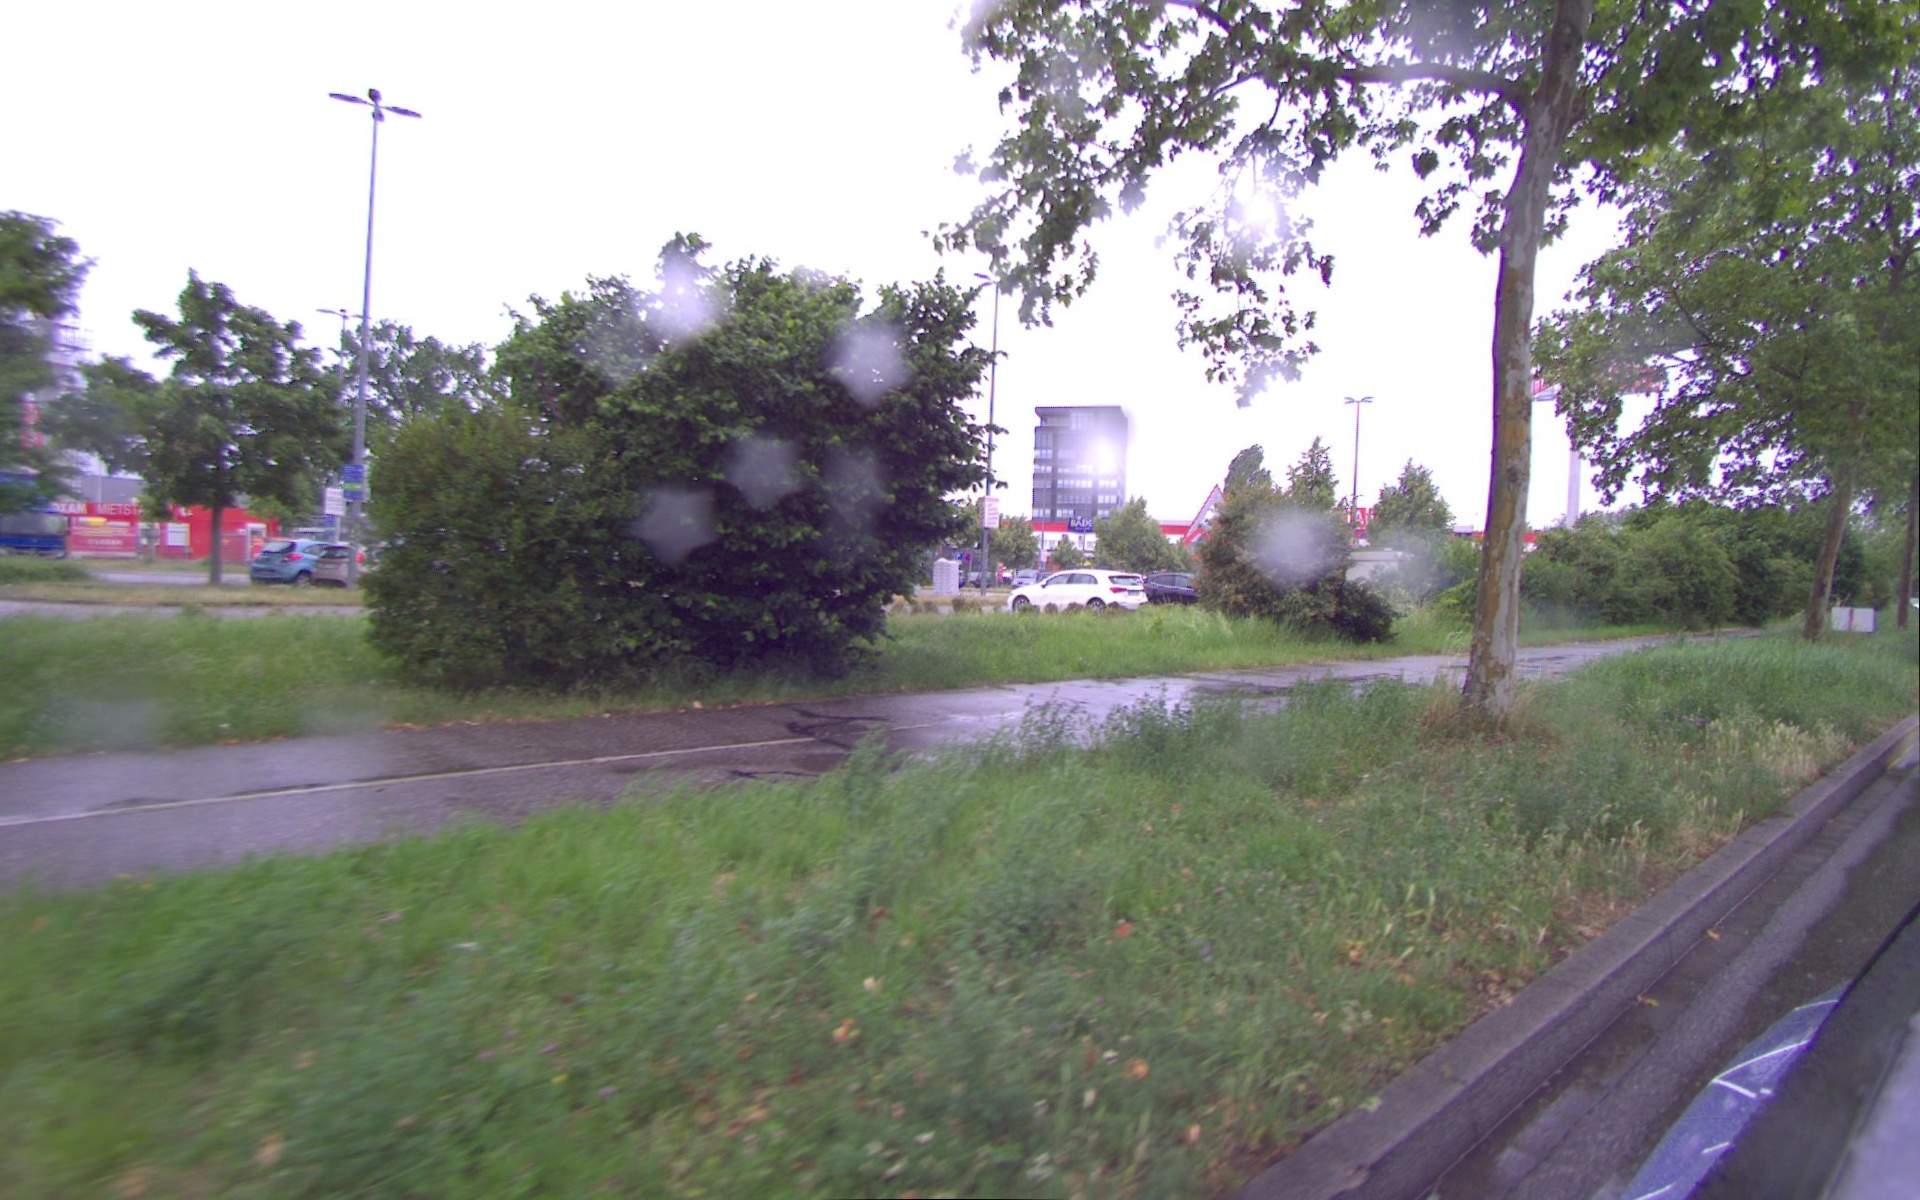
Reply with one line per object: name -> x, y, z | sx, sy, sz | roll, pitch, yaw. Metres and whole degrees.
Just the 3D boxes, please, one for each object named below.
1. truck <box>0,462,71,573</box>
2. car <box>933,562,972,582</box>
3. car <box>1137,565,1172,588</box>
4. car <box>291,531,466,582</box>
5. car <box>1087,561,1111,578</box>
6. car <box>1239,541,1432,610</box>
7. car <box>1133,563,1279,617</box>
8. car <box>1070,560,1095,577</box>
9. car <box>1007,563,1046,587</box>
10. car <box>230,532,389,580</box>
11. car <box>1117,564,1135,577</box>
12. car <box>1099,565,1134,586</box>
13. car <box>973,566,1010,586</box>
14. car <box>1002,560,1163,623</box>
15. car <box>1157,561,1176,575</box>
truck -> -34.279, -2.797, 34.004 | 7.898, 3.513, 2.542 | 2, 1, 14
car -> -0.572, -2.270, 81.893 | 1.904, 1.571, 4.250 | 2, 2, 18
car -> 14.420, -1.763, 75.022 | 1.906, 1.571, 4.247 | 2, 2, 20
car -> -16.438, -1.215, 28.825 | 1.850, 1.308, 4.016 | 3, 3, 25
car -> 16.456, -3.588, 119.758 | 1.907, 1.900, 4.245 | 2, 2, 21
car -> 14.033, -1.001, 38.154 | 6.398, 2.391, 2.357 | 3, 3, 41
car -> 7.983, -0.384, 33.088 | 4.262, 1.571, 1.899 | 3, 3, 45
car -> 12.455, -3.194, 102.649 | 1.974, 1.697, 4.255 | 2, 2, 15
car -> 4.566, -1.729, 68.882 | 1.902, 1.571, 4.255 | 2, 2, 15
car -> -19.397, -1.312, 30.387 | 1.838, 1.308, 4.041 | 2, 2, 8
car -> 25.356, -4.491, 154.105 | 1.907, 1.900, 4.245 | 2, 2, 21
car -> 12.132, -1.908, 78.279 | 1.906, 1.571, 4.247 | 2, 2, 20
car -> 2.562, -1.943, 81.345 | 1.904, 1.571, 4.250 | 2, 2, 18
car -> 3.410, -0.290, 28.765 | 4.262, 1.571, 1.899 | 3, 3, 45
car -> 27.226, -4.183, 133.522 | 1.906, 1.747, 4.247 | 2, 2, 20
